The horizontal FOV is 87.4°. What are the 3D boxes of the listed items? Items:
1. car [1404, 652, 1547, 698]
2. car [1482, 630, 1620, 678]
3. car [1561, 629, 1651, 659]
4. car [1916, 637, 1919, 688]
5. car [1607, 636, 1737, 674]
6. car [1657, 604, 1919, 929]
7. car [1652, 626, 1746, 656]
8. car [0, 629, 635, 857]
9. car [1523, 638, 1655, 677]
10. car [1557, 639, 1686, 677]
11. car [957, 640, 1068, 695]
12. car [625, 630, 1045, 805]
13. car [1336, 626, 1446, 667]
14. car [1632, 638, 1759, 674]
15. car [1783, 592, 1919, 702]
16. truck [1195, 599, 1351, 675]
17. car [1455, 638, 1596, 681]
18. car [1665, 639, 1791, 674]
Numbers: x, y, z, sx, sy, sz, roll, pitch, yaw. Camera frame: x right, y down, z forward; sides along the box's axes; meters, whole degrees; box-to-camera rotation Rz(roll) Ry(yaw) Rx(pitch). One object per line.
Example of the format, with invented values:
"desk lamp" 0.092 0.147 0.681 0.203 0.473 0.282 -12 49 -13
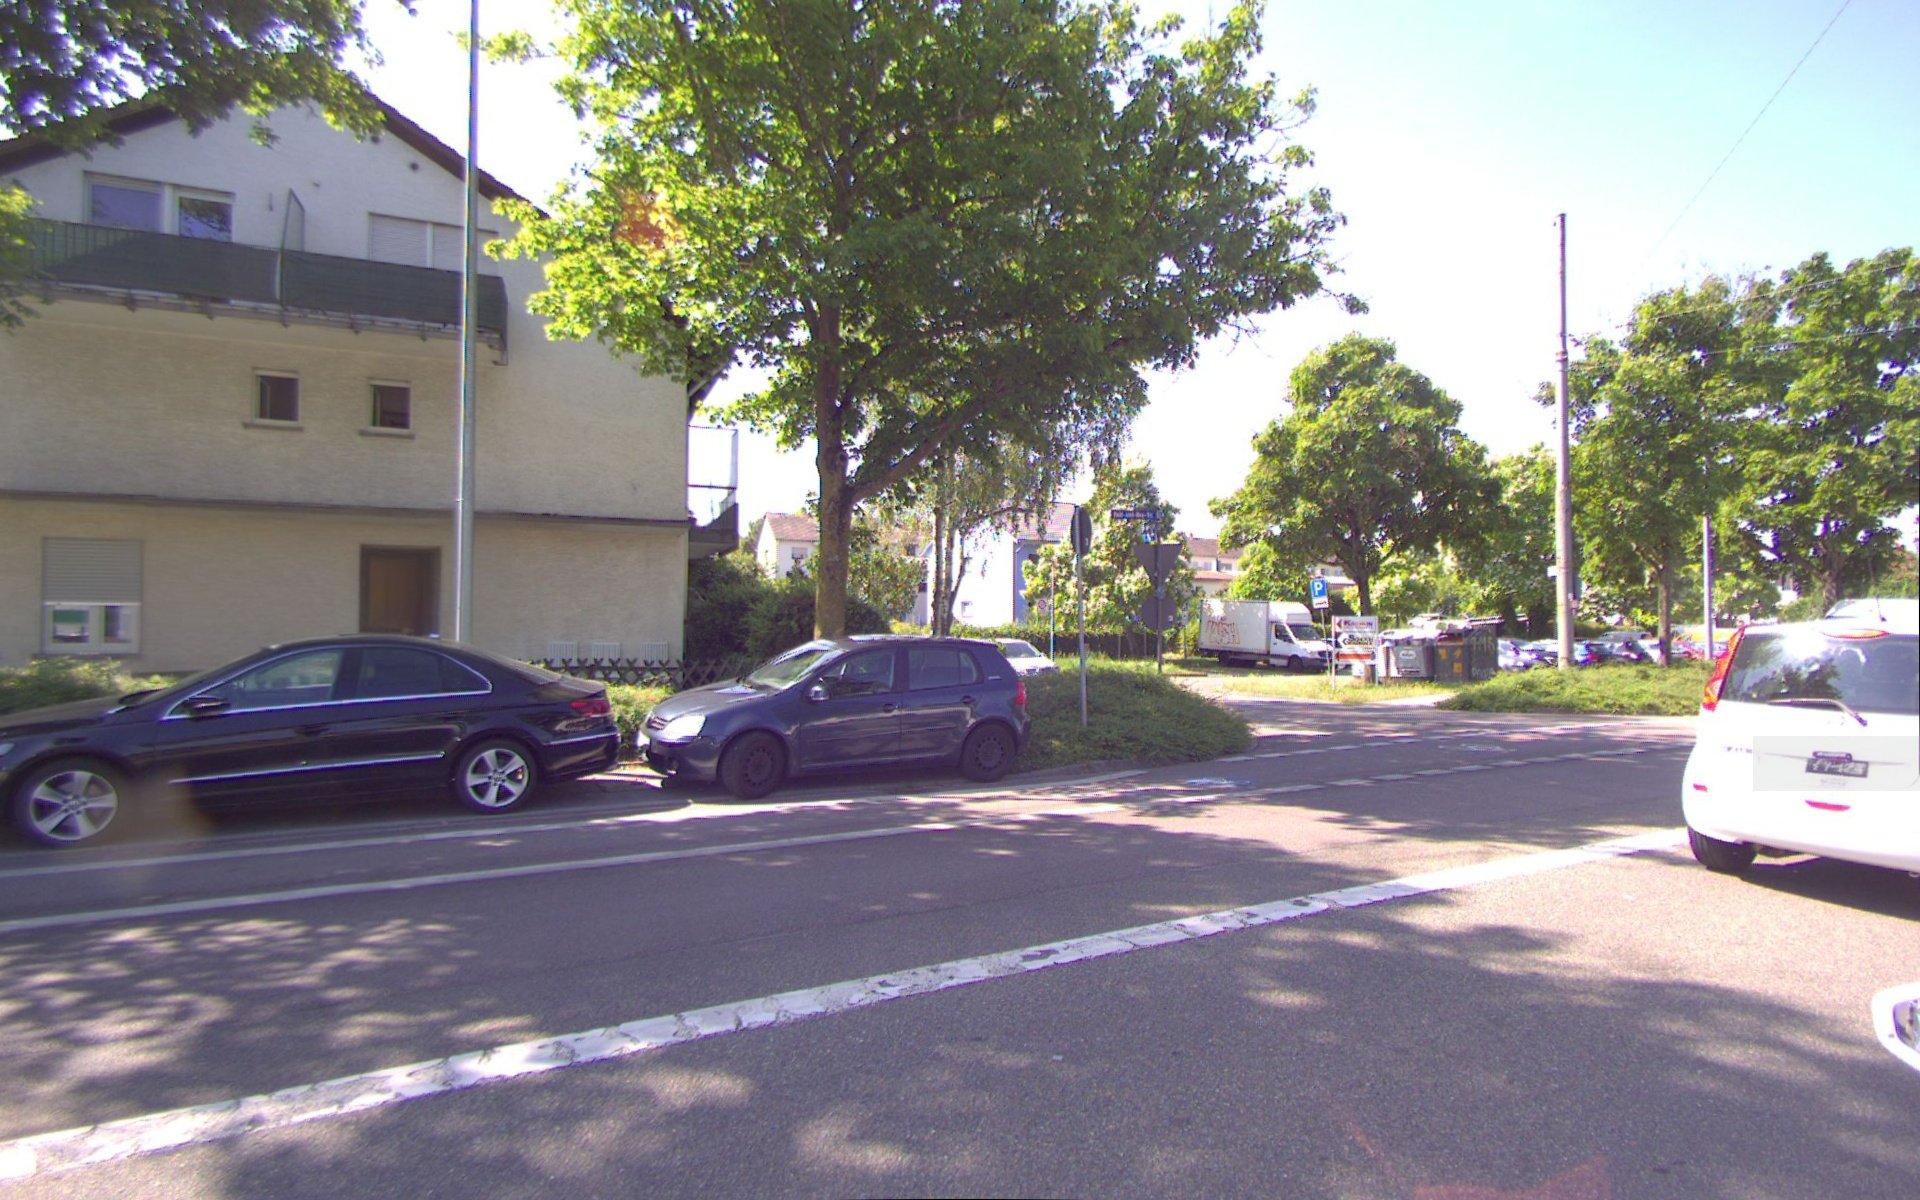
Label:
"car" 17.315 2.489 33.894 1.712 1.434 3.964 2 -4 -33
"car" 21.406 1.970 36.503 1.712 1.631 3.964 2 -4 -33
"car" 44.506 2.986 69.294 2.043 1.811 4.762 2 0 -34
"car" 29.333 1.818 28.678 4.230 1.434 1.854 1 0 -31
"car" 28.821 2.242 40.779 1.712 1.434 3.964 2 -4 -33
"car" 6.426 0.848 6.255 4.491 1.568 1.655 1 -1 -29
"car" 50.540 2.771 68.750 2.043 1.811 4.762 2 0 -34
"car" -5.255 1.005 8.349 4.568 1.434 1.854 1 0 -31
"car" 24.162 2.212 38.710 1.712 1.434 3.964 2 -4 -33
"car" 26.317 2.326 40.074 1.712 1.434 3.964 2 -4 -33
"car" 1.404 1.901 28.436 1.704 1.434 3.983 1 -3 -20
"car" -1.267 1.090 10.453 3.988 1.462 1.718 1 0 -28
"car" 21.657 2.322 50.687 2.043 1.811 4.762 2 0 -34
"car" 30.732 2.332 42.080 1.712 1.434 3.964 2 -4 -33
"car" 23.786 1.141 25.771 5.745 2.550 2.114 1 0 -29
"truck" 14.407 1.614 46.833 2.646 3.151 6.967 1 0 -30
"car" 19.674 2.074 35.109 1.712 1.434 3.964 2 -4 -33
"car" 33.154 2.445 43.450 1.712 1.434 3.964 2 -4 -33
